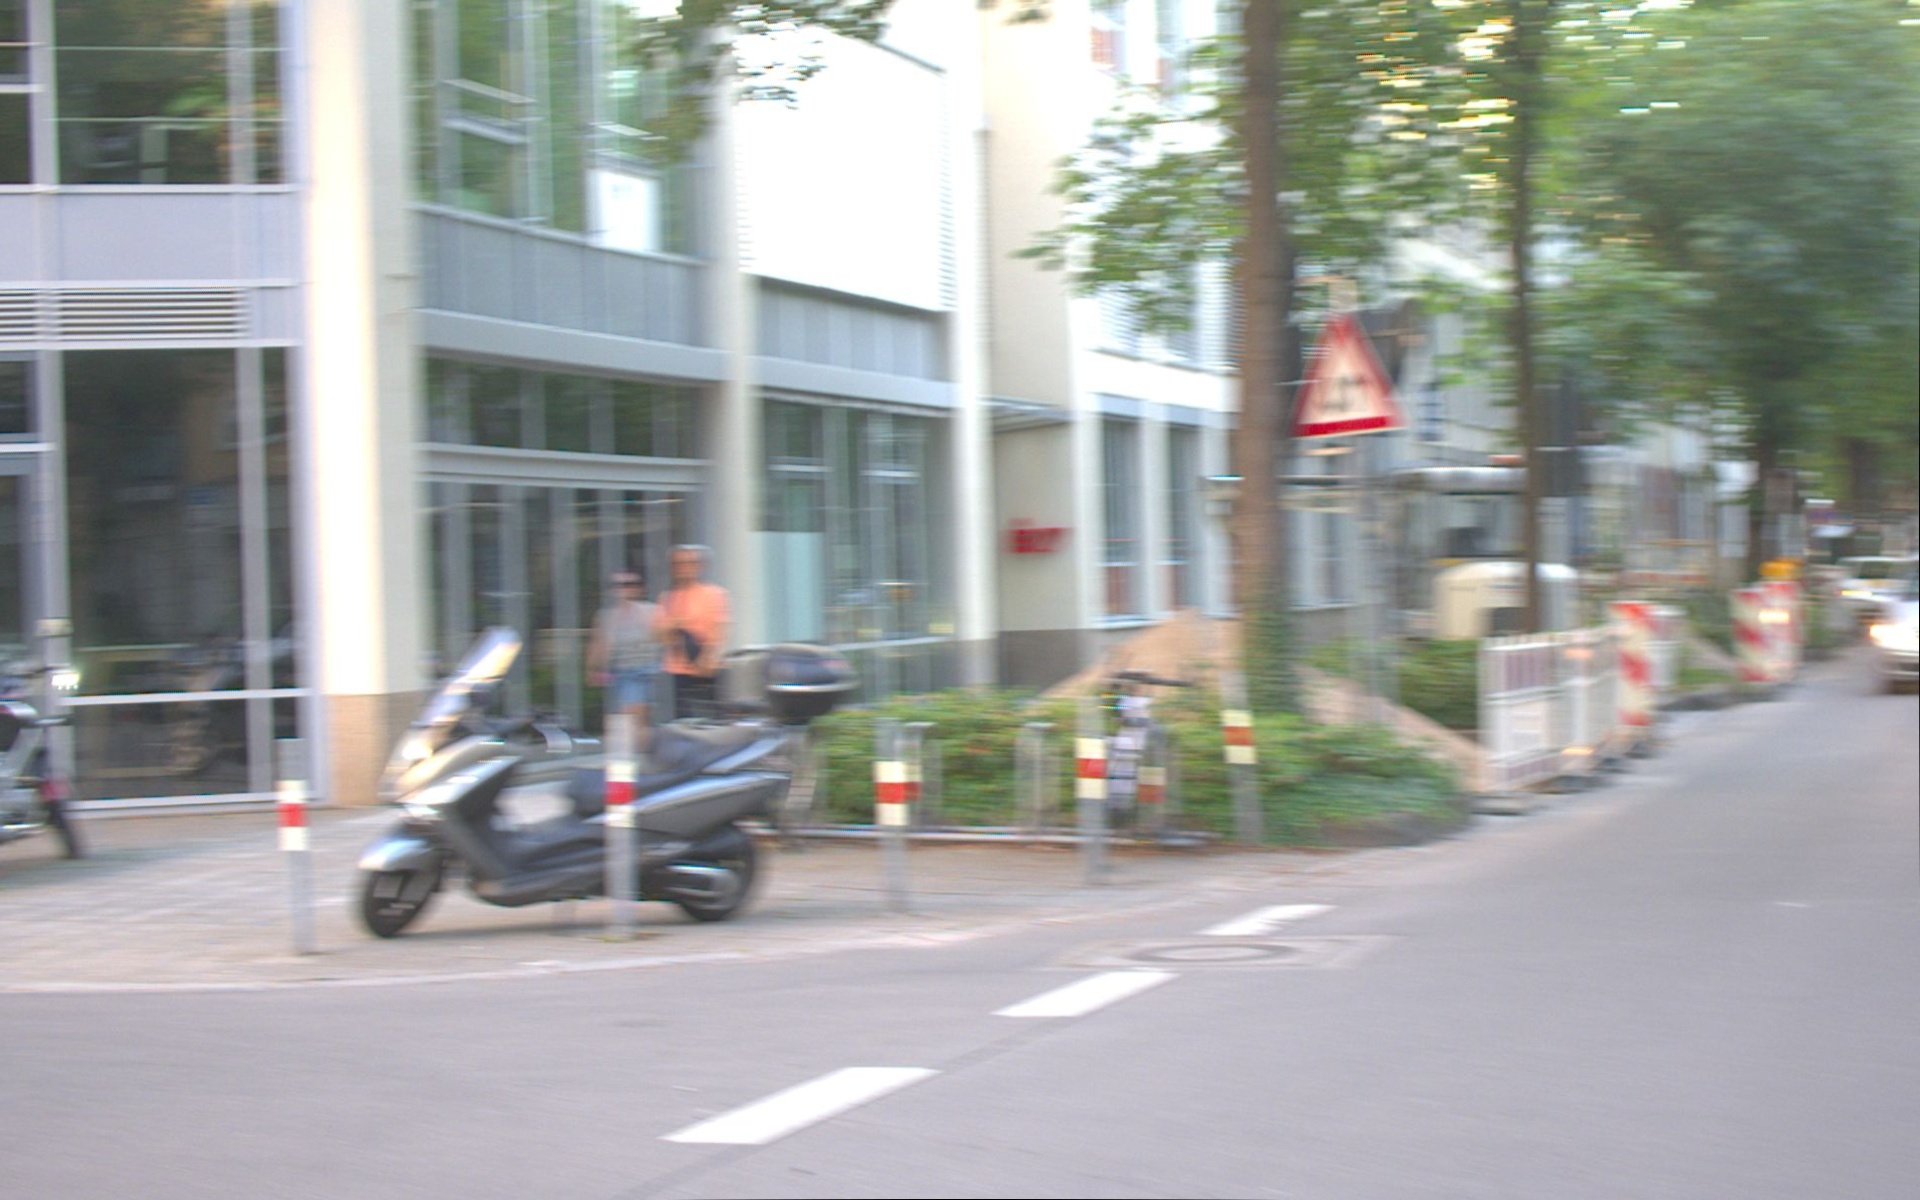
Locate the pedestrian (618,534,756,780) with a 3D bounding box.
[{"bbox_3d":[-1.904,0.393,24.043,0.740,1.684,0.606,-1,0,19],"label":"pedestrian"}]

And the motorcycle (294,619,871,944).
[{"bbox_3d":[-1.711,0.778,15.562,2.348,1.277,1.068,-2,1,-23],"label":"motorcycle"}]

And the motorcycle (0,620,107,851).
[{"bbox_3d":[-5.274,0.731,18.322,0.556,1.168,2.307,-2,1,8],"label":"motorcycle"}]

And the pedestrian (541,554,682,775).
[{"bbox_3d":[-2.474,0.453,24.449,0.770,1.530,0.642,-1,0,17],"label":"pedestrian"}]

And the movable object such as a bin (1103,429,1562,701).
[{"bbox_3d":[3.627,-0.341,32.873,4.048,2.375,2.783,-2,1,12],"label":"movable object such as a bin"}]

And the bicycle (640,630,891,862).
[{"bbox_3d":[-1.052,0.784,19.123,0.683,1.149,1.979,-2,1,18],"label":"bicycle"}]

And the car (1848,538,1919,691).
[{"bbox_3d":[11.449,0.108,39.299,2.012,1.607,4.115,-1,1,21],"label":"car"}]

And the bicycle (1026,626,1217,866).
[{"bbox_3d":[0.894,0.758,18.525,0.683,1.149,1.980,-2,1,12],"label":"bicycle"}]

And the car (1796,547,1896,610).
[{"bbox_3d":[19.271,-0.483,74.903,1.995,1.284,3.998,-1,1,13],"label":"car"}]
